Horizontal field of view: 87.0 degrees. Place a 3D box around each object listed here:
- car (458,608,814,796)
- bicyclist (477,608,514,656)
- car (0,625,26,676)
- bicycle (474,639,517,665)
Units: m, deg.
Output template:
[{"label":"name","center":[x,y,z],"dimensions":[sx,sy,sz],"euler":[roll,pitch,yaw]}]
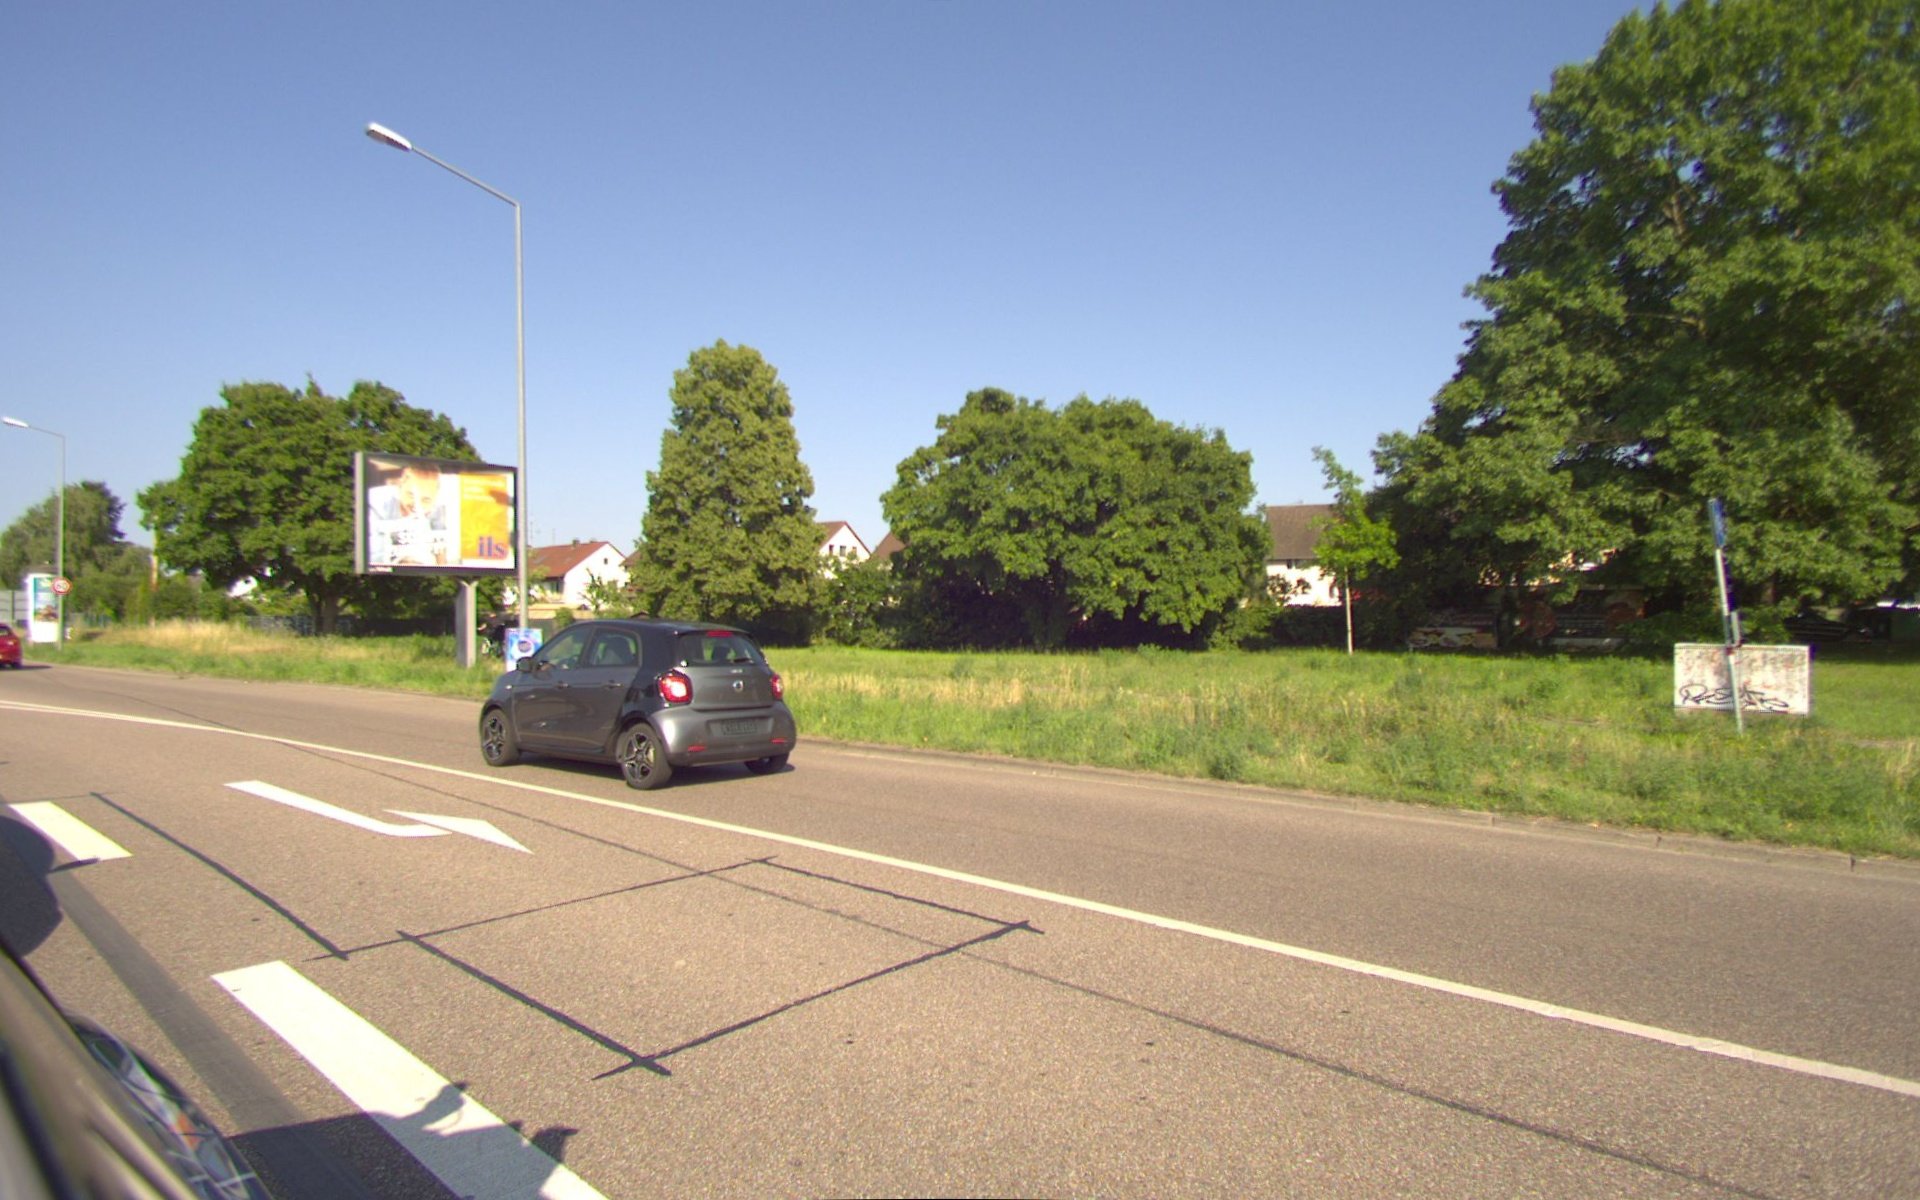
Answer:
[{"label":"car","center":[-3.363,0.915,10.266],"dimensions":[3.670,1.572,1.618],"euler":[-1,-3,37]},{"label":"bicyclist","center":[-14.404,0.991,31.385],"dimensions":[1.070,1.439,0.630],"euler":[-1,-1,39]},{"label":"car","center":[-29.915,1.501,30.654],"dimensions":[3.669,1.510,1.679],"euler":[-1,-2,36]},{"label":"bicycle","center":[-14.390,1.593,31.328],"dimensions":[1.832,0.759,0.450],"euler":[-1,-1,39]}]
